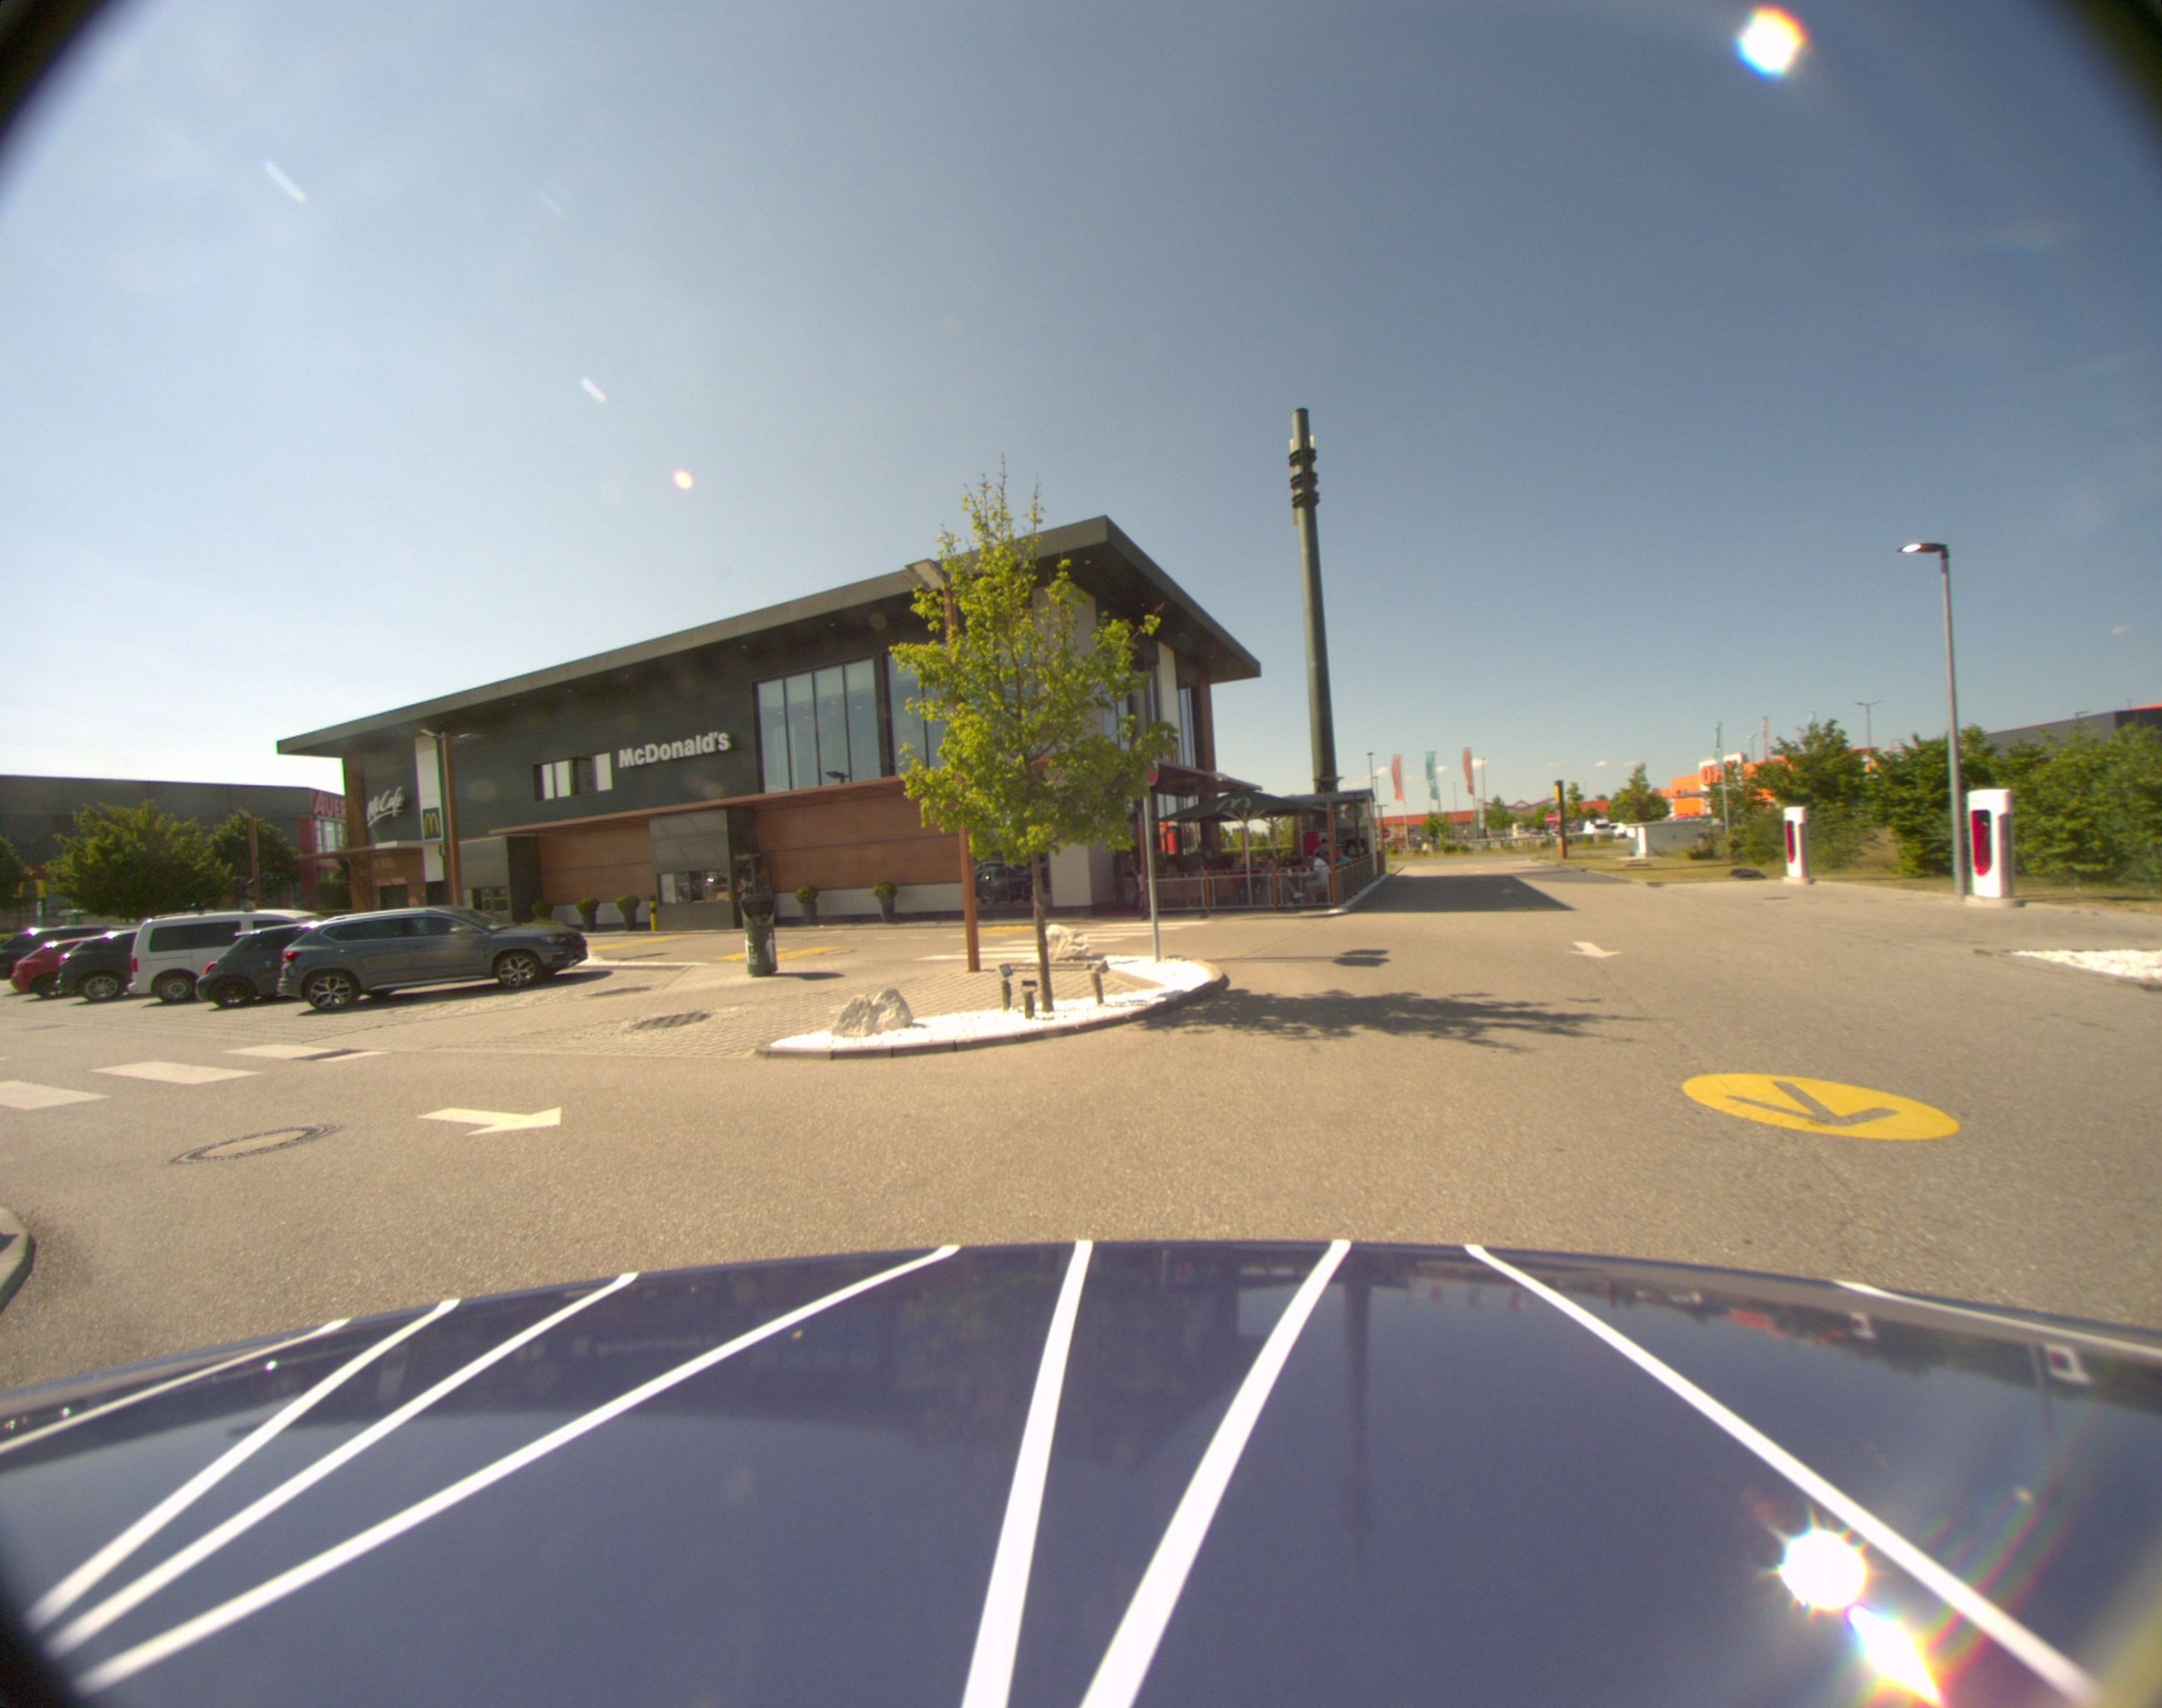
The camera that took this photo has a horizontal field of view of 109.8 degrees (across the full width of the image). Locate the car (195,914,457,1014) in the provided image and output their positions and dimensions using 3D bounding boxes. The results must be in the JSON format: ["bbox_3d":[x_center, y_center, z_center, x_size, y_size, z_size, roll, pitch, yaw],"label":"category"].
[{"bbox_3d":[-15.253,2.163,15.610,3.419,1.473,1.565,-4,0,-26],"label":"car"}]

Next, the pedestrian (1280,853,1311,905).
[{"bbox_3d":[5.417,0.632,19.202,0.633,1.250,0.525,-4,0,21],"label":"pedestrian"}]

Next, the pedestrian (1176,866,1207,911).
[{"bbox_3d":[2.879,0.896,19.825,0.633,1.117,0.525,-4,0,21],"label":"pedestrian"}]

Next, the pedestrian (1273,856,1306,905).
[{"bbox_3d":[5.566,0.700,20.236,0.714,1.250,0.525,-4,0,21],"label":"pedestrian"}]

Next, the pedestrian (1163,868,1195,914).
[{"bbox_3d":[2.479,0.937,19.257,0.633,1.117,0.525,-4,0,21],"label":"pedestrian"}]

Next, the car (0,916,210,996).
[{"bbox_3d":[-28.070,2.856,21.647,4.046,1.696,1.671,-4,1,-43],"label":"car"}]

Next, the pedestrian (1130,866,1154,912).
[{"bbox_3d":[1.627,0.934,20.182,0.448,1.179,0.492,-4,0,19],"label":"pedestrian"}]

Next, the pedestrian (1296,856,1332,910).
[{"bbox_3d":[5.675,0.706,18.488,0.728,1.250,0.574,-4,0,20],"label":"pedestrian"}]

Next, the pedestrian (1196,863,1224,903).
[{"bbox_3d":[3.754,0.831,22.057,0.572,1.094,0.657,-4,0,24],"label":"pedestrian"}]

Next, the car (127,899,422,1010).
[{"bbox_3d":[-17.961,2.164,17.232,4.150,1.910,1.755,-4,0,-26],"label":"car"}]

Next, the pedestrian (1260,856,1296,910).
[{"bbox_3d":[4.786,0.709,18.448,0.714,1.250,0.525,-4,0,21],"label":"pedestrian"}]

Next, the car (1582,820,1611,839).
[{"bbox_3d":[58.363,-2.733,86.046,1.995,2.002,4.006,-3,0,25],"label":"car"}]

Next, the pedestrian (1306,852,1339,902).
[{"bbox_3d":[6.334,0.589,19.895,0.728,1.250,0.574,-4,0,20],"label":"pedestrian"}]

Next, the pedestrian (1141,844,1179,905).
[{"bbox_3d":[2.380,0.596,22.815,0.895,1.757,0.804,-4,0,16],"label":"pedestrian"}]

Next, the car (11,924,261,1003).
[{"bbox_3d":[-24.767,2.818,20.146,3.778,1.435,1.671,-4,0,-37],"label":"car"}]

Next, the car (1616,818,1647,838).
[{"bbox_3d":[61.582,-2.909,85.001,1.995,2.002,4.006,-3,0,25],"label":"car"}]

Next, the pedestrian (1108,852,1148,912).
[{"bbox_3d":[1.304,0.764,20.952,0.739,1.574,0.730,-4,0,35],"label":"pedestrian"}]

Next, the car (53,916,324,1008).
[{"bbox_3d":[-21.447,2.538,18.530,3.850,1.622,1.754,-3,0,-31],"label":"car"}]

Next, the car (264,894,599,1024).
[{"bbox_3d":[-11.711,1.821,14.118,4.230,1.594,1.787,-6,3,-21],"label":"car"}]
